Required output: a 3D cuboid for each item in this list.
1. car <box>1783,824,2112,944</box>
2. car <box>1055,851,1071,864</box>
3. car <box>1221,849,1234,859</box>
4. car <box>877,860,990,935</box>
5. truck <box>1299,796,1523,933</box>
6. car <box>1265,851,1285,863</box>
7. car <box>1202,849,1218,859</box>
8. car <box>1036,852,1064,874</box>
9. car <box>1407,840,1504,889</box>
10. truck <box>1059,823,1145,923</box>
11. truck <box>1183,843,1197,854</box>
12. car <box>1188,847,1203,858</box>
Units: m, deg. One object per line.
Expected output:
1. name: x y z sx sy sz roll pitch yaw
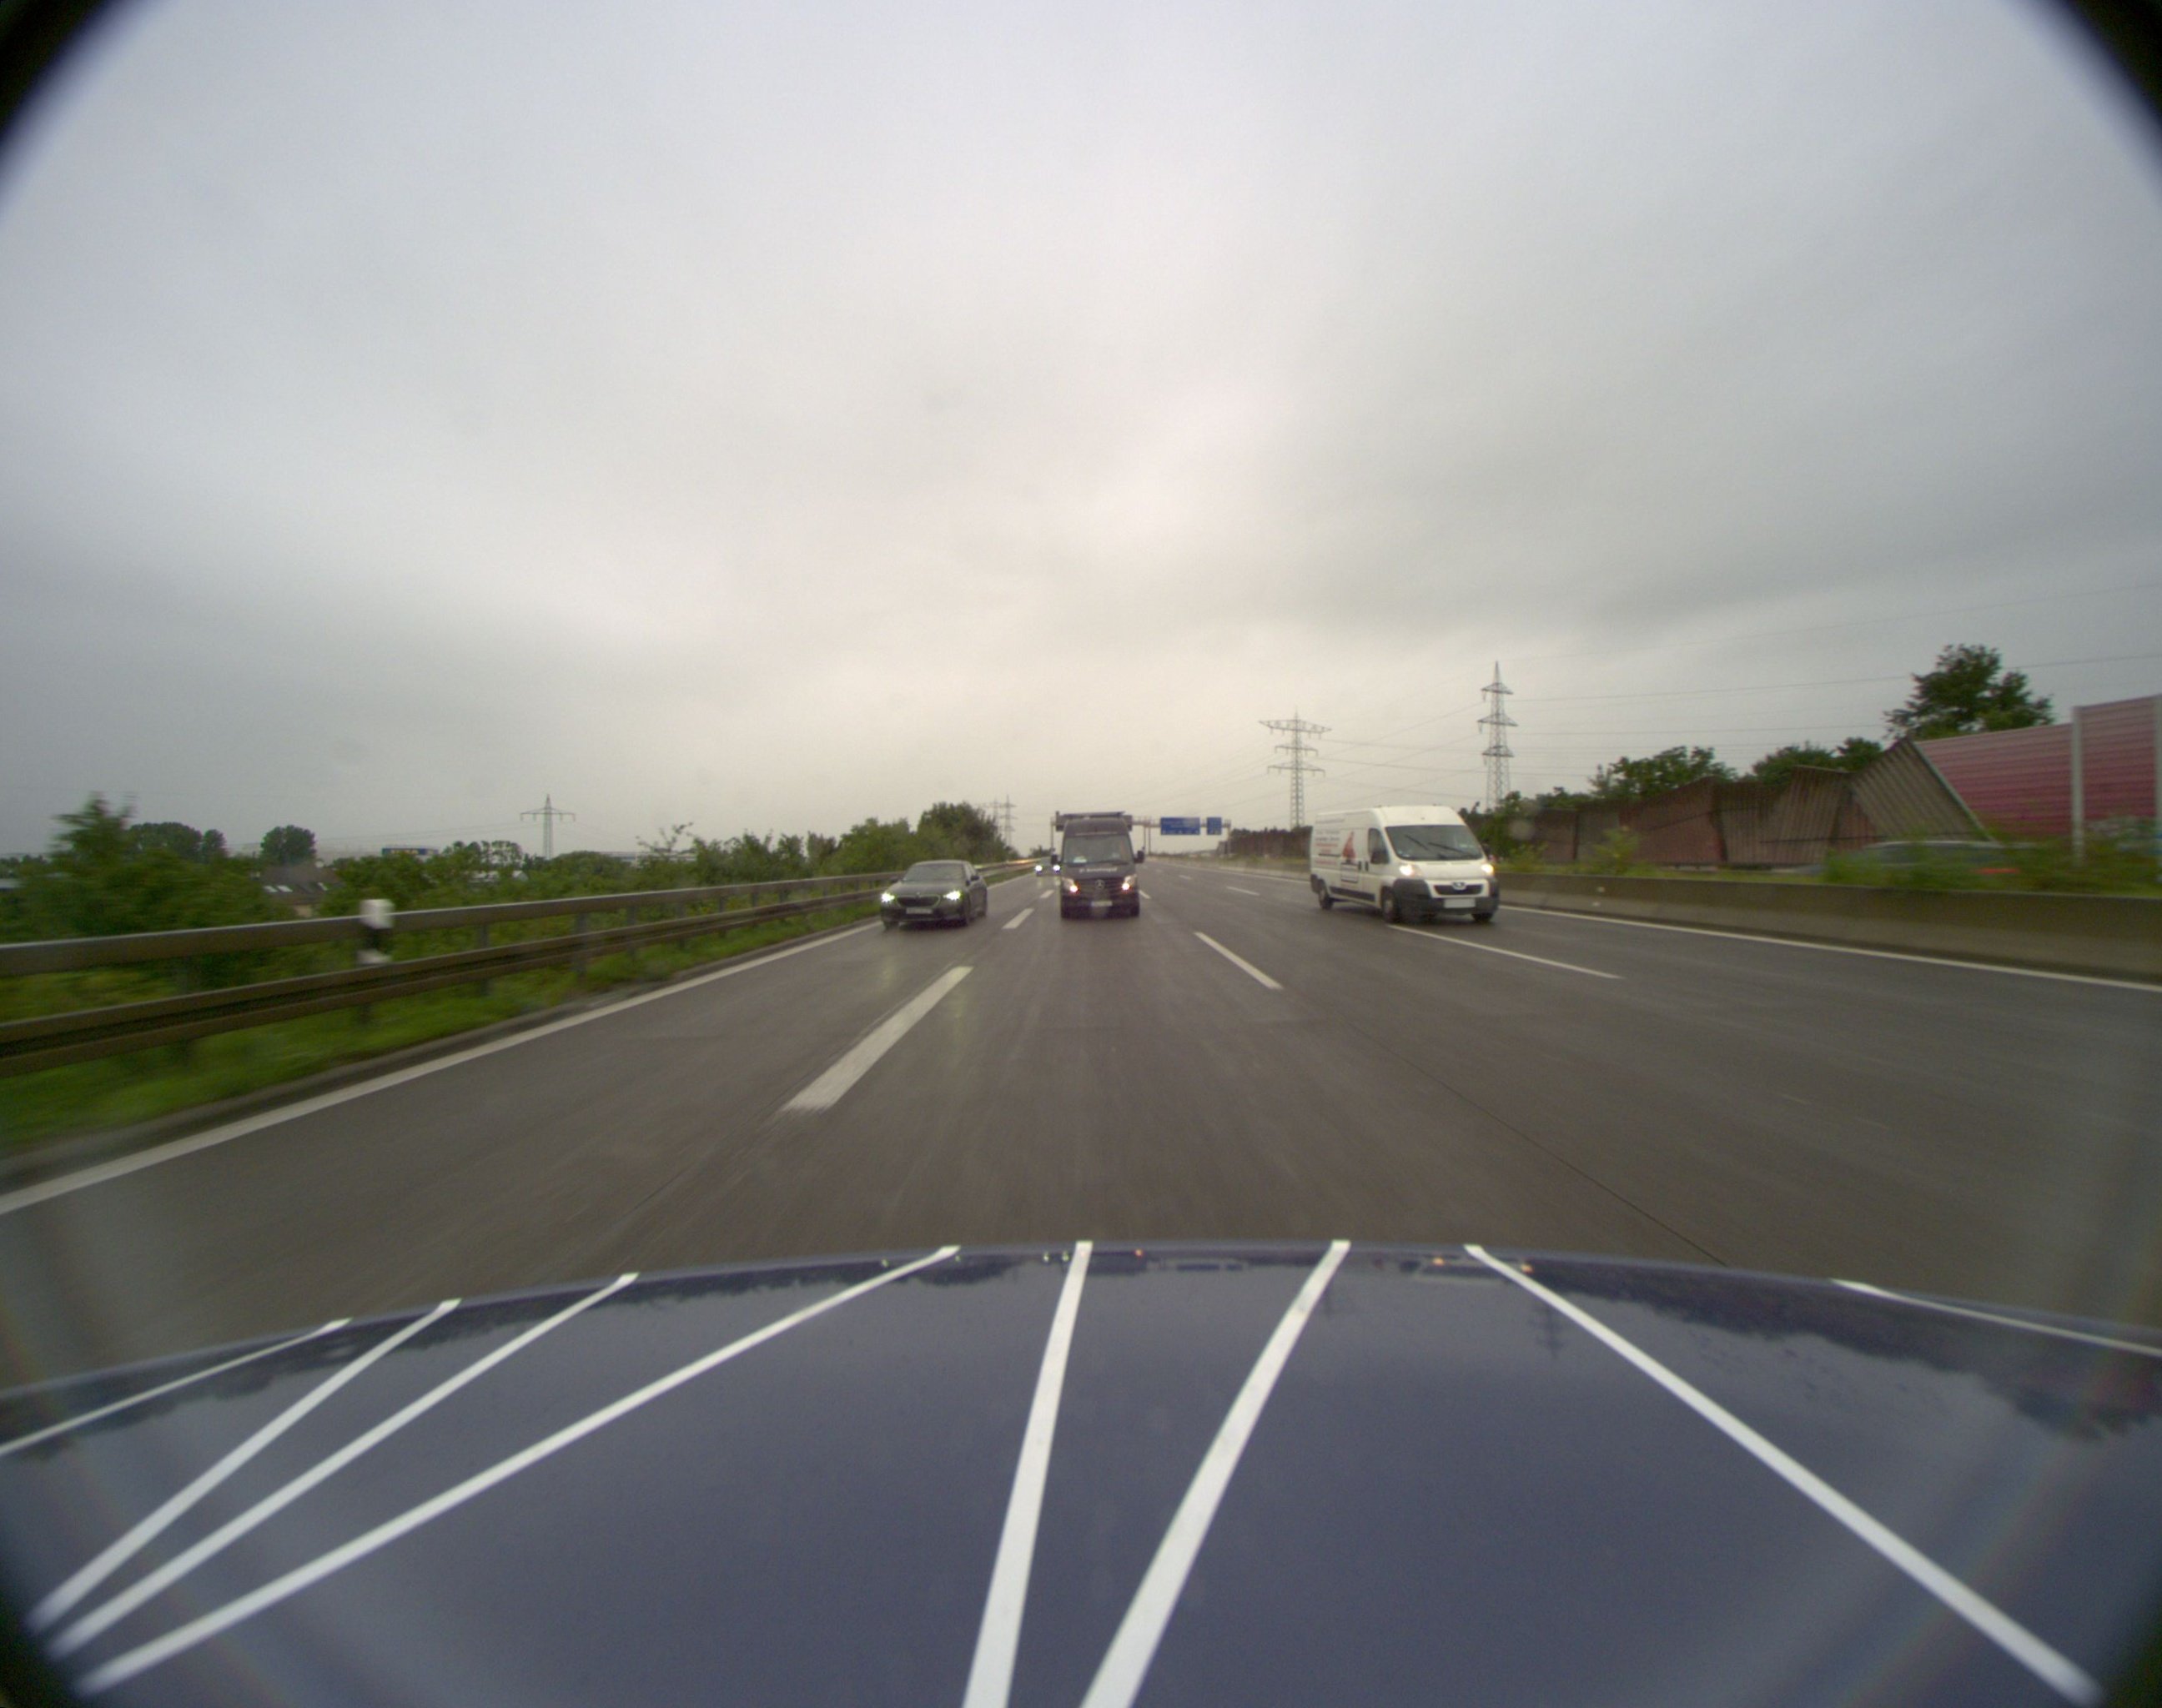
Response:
1. car: 16.805 0.505 15.140 1.722 2.002 4.238 -2 0 1
2. car: -2.361 0.468 100.060 1.998 1.706 4.000 1 0 1
3. car: 30.533 -0.049 158.514 1.998 2.002 4.000 -1 1 2
4. car: -3.408 0.948 18.372 1.862 1.531 4.203 -2 0 0
5. truck: 7.108 0.191 17.464 2.243 2.464 6.583 -2 0 0
6. car: 30.003 0.417 117.555 1.998 1.729 4.264 -2 1 2
7. car: 22.323 -0.010 131.758 1.998 1.729 4.466 -2 0 2
8. car: -2.414 0.683 60.228 1.998 1.706 4.000 1 0 1
9. car: 16.615 0.412 34.039 1.998 2.002 4.791 -1 0 1
10. truck: 0.445 0.415 20.978 1.999 2.324 6.109 -1 1 -1
11. truck: 22.062 -1.084 153.289 2.150 2.193 5.419 -2 1 2
12. car: 18.990 -0.307 126.072 1.858 1.729 4.000 -2 1 2
